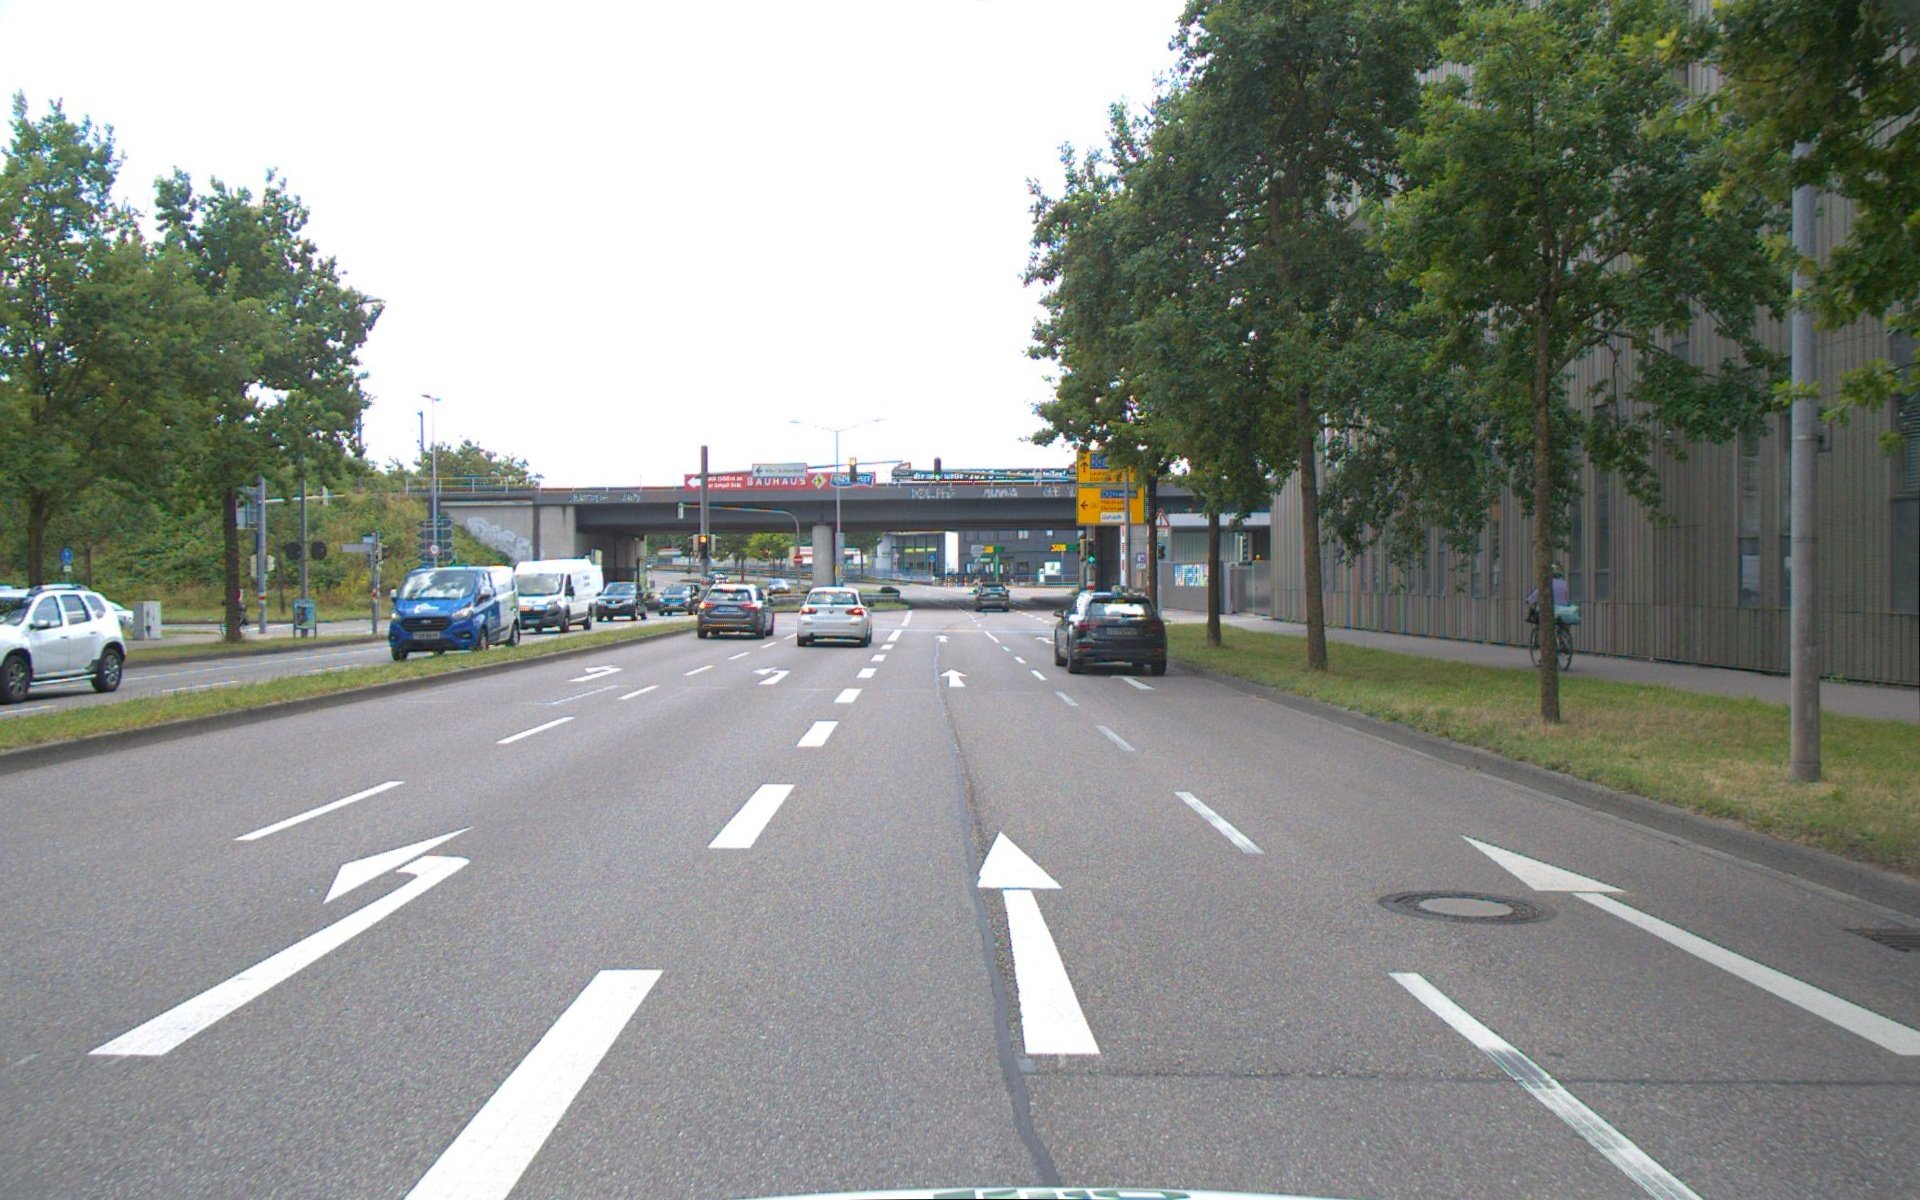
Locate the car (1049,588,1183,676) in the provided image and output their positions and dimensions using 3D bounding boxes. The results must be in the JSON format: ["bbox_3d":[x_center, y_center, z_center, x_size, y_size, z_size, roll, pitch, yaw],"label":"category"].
[{"bbox_3d":[2.806,0.537,30.737,1.953,1.414,4.575,1,1,-1],"label":"car"}]

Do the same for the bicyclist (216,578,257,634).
[{"bbox_3d":[-23.444,0.202,53.610,0.874,1.777,0.997,1,0,1],"label":"bicyclist"}]

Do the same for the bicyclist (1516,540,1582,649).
[{"bbox_3d":[9.983,-0.099,28.058,0.701,1.800,0.987,-1,0,-5],"label":"bicyclist"}]

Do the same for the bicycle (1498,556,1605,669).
[{"bbox_3d":[9.985,0.193,28.030,0.705,1.805,2.531,-1,0,-5],"label":"bicycle"}]

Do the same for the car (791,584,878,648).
[{"bbox_3d":[-3.111,0.355,41.766,1.876,1.439,4.295,2,1,-1],"label":"car"}]

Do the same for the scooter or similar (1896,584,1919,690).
[{"bbox_3d":[11.943,0.449,19.217,0.690,1.268,2.479,-2,0,-1],"label":"scooter or similar"}]

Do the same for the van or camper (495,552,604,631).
[{"bbox_3d":[-14.416,-0.323,58.561,2.304,2.584,7.061,0,1,-2],"label":"van or camper"}]

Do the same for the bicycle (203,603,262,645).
[{"bbox_3d":[-23.484,0.768,53.447,0.805,1.292,2.393,1,0,0],"label":"bicycle"}]

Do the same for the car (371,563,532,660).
[{"bbox_3d":[-11.307,0.206,37.186,2.146,1.998,5.191,-1,1,-2],"label":"car"}]

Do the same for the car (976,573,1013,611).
[{"bbox_3d":[1.942,-0.478,94.287,1.953,2.073,4.712,-1,0,-1],"label":"car"}]

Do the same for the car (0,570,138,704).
[{"bbox_3d":[-14.192,0.523,24.423,1.954,1.832,4.407,-2,1,-2],"label":"car"}]

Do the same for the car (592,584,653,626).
[{"bbox_3d":[-15.038,0.181,73.821,1.953,1.797,4.219,-1,1,-2],"label":"car"}]

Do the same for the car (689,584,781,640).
[{"bbox_3d":[-6.179,0.286,45.855,1.953,1.440,4.831,1,1,-1],"label":"car"}]

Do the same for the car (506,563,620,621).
[{"bbox_3d":[-20.739,-0.443,86.485,5.346,2.871,2.361,-1,0,-32],"label":"car"}]

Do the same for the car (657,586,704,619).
[{"bbox_3d":[-14.625,0.091,86.588,1.769,1.660,4.391,-1,1,-1],"label":"car"}]
